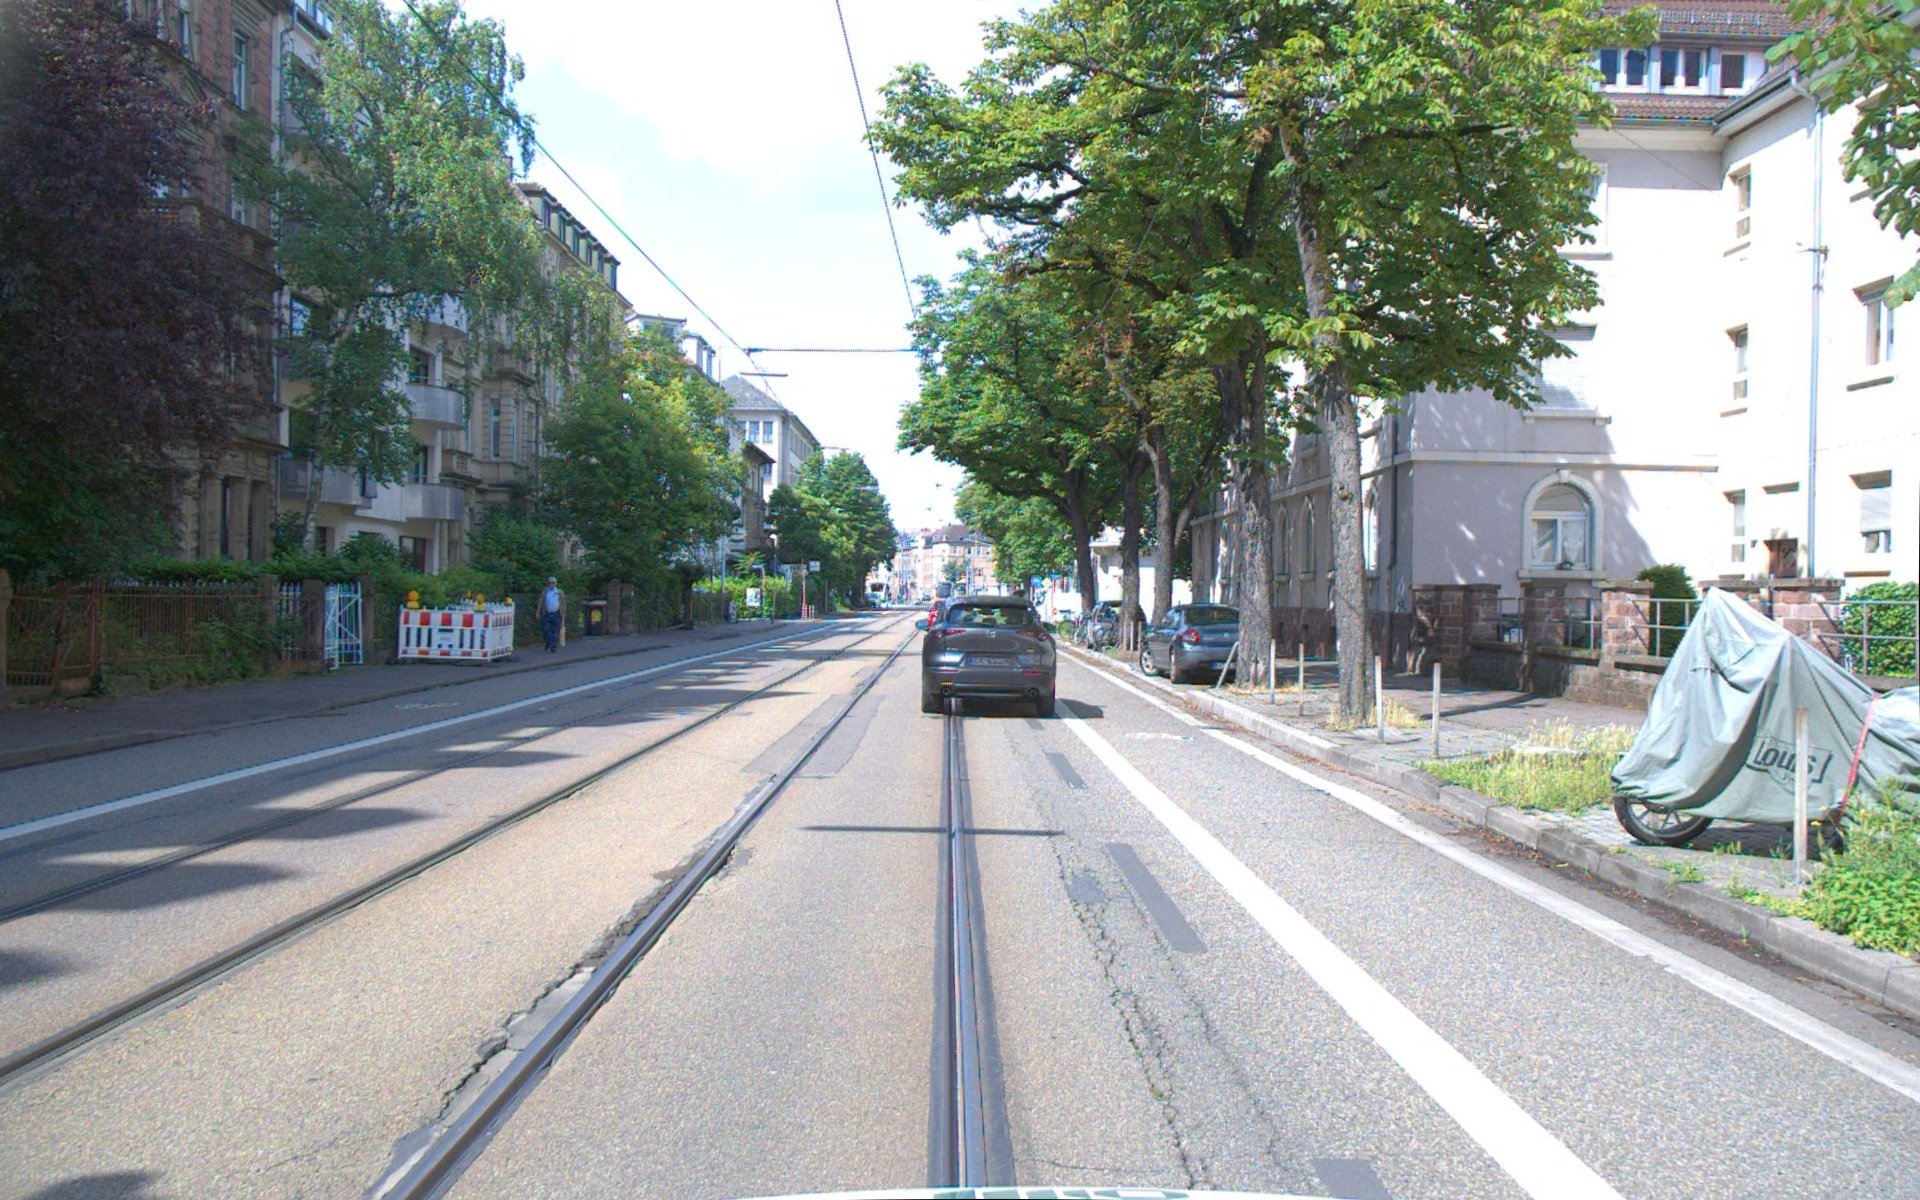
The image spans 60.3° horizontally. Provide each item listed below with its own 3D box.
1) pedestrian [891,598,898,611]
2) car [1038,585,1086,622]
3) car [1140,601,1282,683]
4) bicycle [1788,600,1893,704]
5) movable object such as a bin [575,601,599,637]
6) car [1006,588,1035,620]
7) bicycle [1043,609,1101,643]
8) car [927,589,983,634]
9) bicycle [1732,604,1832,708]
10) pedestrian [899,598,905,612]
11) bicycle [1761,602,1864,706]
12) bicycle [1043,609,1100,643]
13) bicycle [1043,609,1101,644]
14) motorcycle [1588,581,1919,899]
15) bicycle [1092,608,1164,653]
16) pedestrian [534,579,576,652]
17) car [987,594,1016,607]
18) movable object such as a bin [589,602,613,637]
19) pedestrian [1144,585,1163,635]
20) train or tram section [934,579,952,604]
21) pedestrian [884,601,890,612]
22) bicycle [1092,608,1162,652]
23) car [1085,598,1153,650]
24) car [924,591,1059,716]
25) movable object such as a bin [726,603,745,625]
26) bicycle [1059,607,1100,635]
[{"bbox_3d":[-9.743,0.666,245.946,0.867,2.049,0.617,1,0,-4],"label":"pedestrian"},{"bbox_3d":[5.584,0.188,91.199,1.753,1.972,4.984,1,0,-7],"label":"car"},{"bbox_3d":[4.751,0.759,31.911,1.809,1.434,4.391,-1,0,-4],"label":"car"},{"bbox_3d":[11.003,0.625,20.715,0.403,1.233,1.704,1,0,0],"label":"bicycle"},{"bbox_3d":[-11.998,0.599,53.223,0.537,1.127,0.790,1,0,4],"label":"movable object such as a bin"},{"bbox_3d":[3.933,0.254,107.967,1.685,2.003,4.207,1,0,0],"label":"car"},{"bbox_3d":[3.710,0.871,54.763,1.864,1.091,0.402,1,0,-1],"label":"bicycle"},{"bbox_3d":[-0.213,0.425,62.312,1.953,1.555,3.999,3,0,-1],"label":"car"},{"bbox_3d":[10.214,0.671,20.605,0.403,1.233,1.704,1,0,0],"label":"bicycle"},{"bbox_3d":[-8.569,0.682,245.929,0.867,2.049,0.617,1,0,-4],"label":"pedestrian"},{"bbox_3d":[10.622,0.652,20.666,0.403,1.233,1.704,1,0,0],"label":"bicycle"},{"bbox_3d":[3.707,0.855,55.169,1.864,1.091,0.402,1,0,-1],"label":"bicycle"},{"bbox_3d":[3.681,0.864,54.261,1.864,1.091,0.402,1,0,-1],"label":"bicycle"},{"bbox_3d":[4.890,0.753,9.387,2.342,1.625,0.675,3,1,38],"label":"motorcycle"},{"bbox_3d":[4.565,0.823,44.926,1.895,1.196,0.513,0,-1,11],"label":"bicycle"},{"bbox_3d":[-9.670,0.365,39.477,0.806,1.736,0.891,1,0,-4],"label":"pedestrian"},{"bbox_3d":[5.809,0.116,233.124,3.748,1.646,1.629,3,0,-19],"label":"car"},{"bbox_3d":[-11.498,0.616,53.033,0.526,1.113,0.790,1,0,4],"label":"movable object such as a bin"},{"bbox_3d":[7.277,0.385,62.270,0.598,1.868,0.878,0,-2,-3],"label":"pedestrian"},{"bbox_3d":[-2.550,-1.284,252.940,2.519,3.838,13.025,0,0,0],"label":"train or tram section"},{"bbox_3d":[-9.730,0.892,221.632,0.736,1.537,0.823,1,0,-5],"label":"pedestrian"},{"bbox_3d":[4.591,0.833,45.490,1.853,1.196,0.513,0,-1,11],"label":"bicycle"},{"bbox_3d":[4.741,0.702,49.706,1.632,1.455,3.765,-1,0,0],"label":"car"},{"bbox_3d":[0.373,0.671,22.582,1.685,1.553,3.589,1,0,-1],"label":"car"},{"bbox_3d":[-10.819,0.677,79.634,0.730,1.005,1.114,3,0,-1],"label":"movable object such as a bin"},{"bbox_3d":[4.274,0.751,59.117,1.460,1.000,0.259,0,-1,1],"label":"bicycle"}]
